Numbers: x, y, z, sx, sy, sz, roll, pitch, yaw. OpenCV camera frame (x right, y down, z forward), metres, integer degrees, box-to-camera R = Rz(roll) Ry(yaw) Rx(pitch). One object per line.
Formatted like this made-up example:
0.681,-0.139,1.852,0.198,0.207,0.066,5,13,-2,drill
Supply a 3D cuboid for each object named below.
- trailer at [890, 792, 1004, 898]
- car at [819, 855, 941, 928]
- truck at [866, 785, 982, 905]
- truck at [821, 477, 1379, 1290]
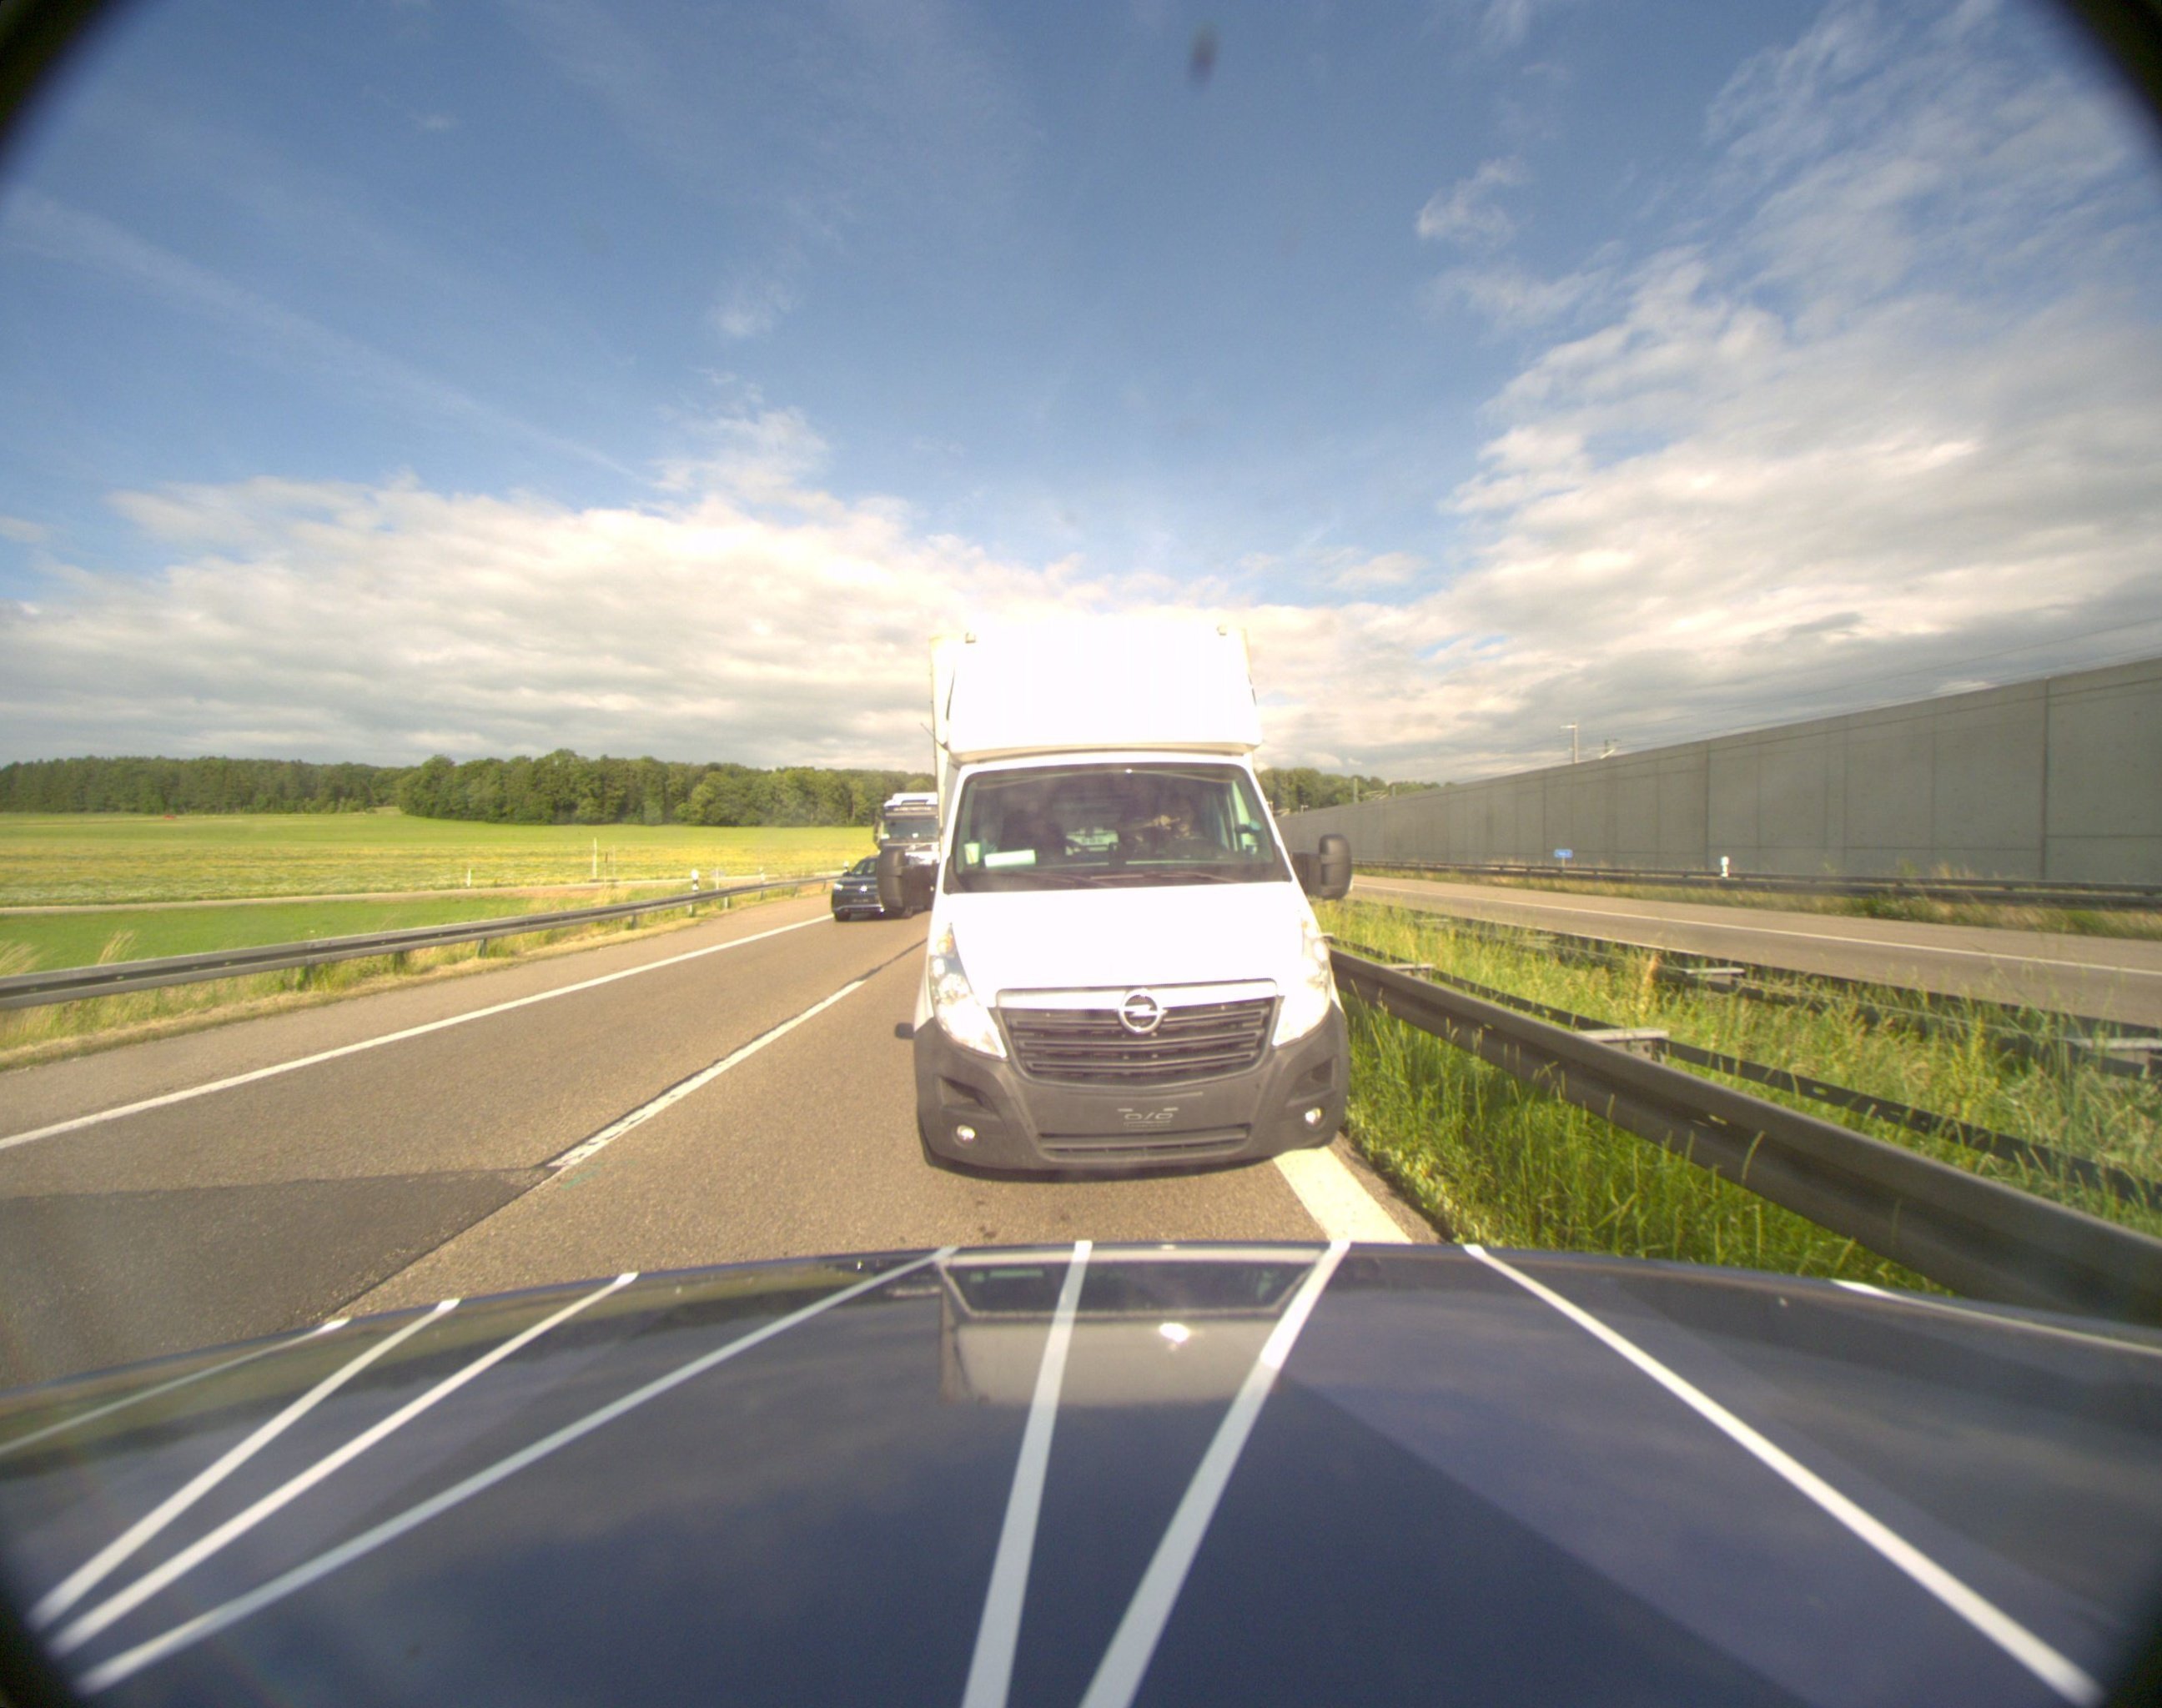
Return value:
-5.713,-0.415,35.045,2.826,3.959,12.127,-2,1,1,trailer
-5.149,0.893,20.073,1.998,1.587,4.118,-2,1,1,car
-5.791,-0.343,29.191,2.842,3.967,6.500,-2,1,1,truck
0.134,0.088,6.853,2.060,3.088,7.803,-2,1,1,truck
